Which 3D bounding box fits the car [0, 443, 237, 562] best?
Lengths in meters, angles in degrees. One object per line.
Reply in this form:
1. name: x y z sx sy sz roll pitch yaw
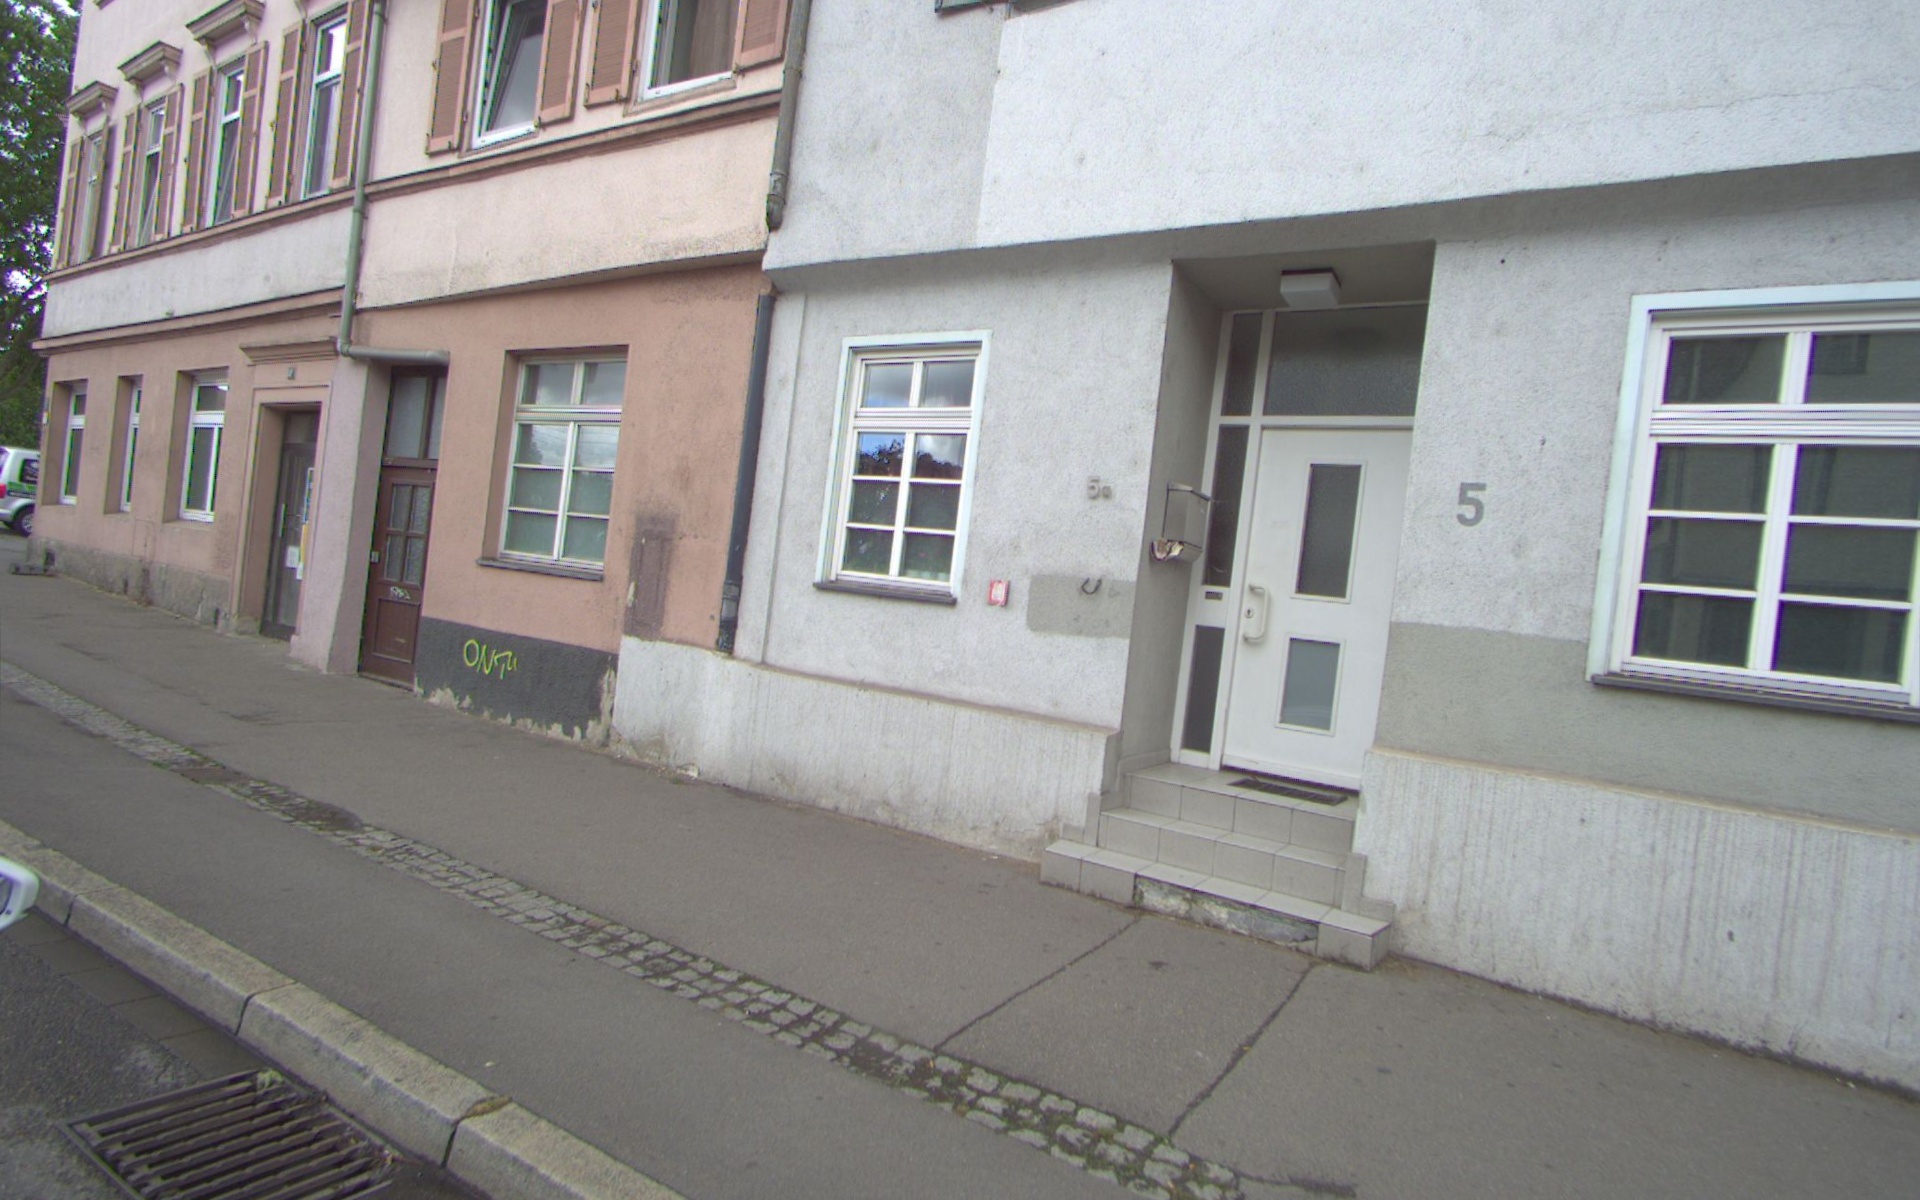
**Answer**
1. car: -19.341 -2.197 22.735 1.968 1.824 4.350 11 1 36
